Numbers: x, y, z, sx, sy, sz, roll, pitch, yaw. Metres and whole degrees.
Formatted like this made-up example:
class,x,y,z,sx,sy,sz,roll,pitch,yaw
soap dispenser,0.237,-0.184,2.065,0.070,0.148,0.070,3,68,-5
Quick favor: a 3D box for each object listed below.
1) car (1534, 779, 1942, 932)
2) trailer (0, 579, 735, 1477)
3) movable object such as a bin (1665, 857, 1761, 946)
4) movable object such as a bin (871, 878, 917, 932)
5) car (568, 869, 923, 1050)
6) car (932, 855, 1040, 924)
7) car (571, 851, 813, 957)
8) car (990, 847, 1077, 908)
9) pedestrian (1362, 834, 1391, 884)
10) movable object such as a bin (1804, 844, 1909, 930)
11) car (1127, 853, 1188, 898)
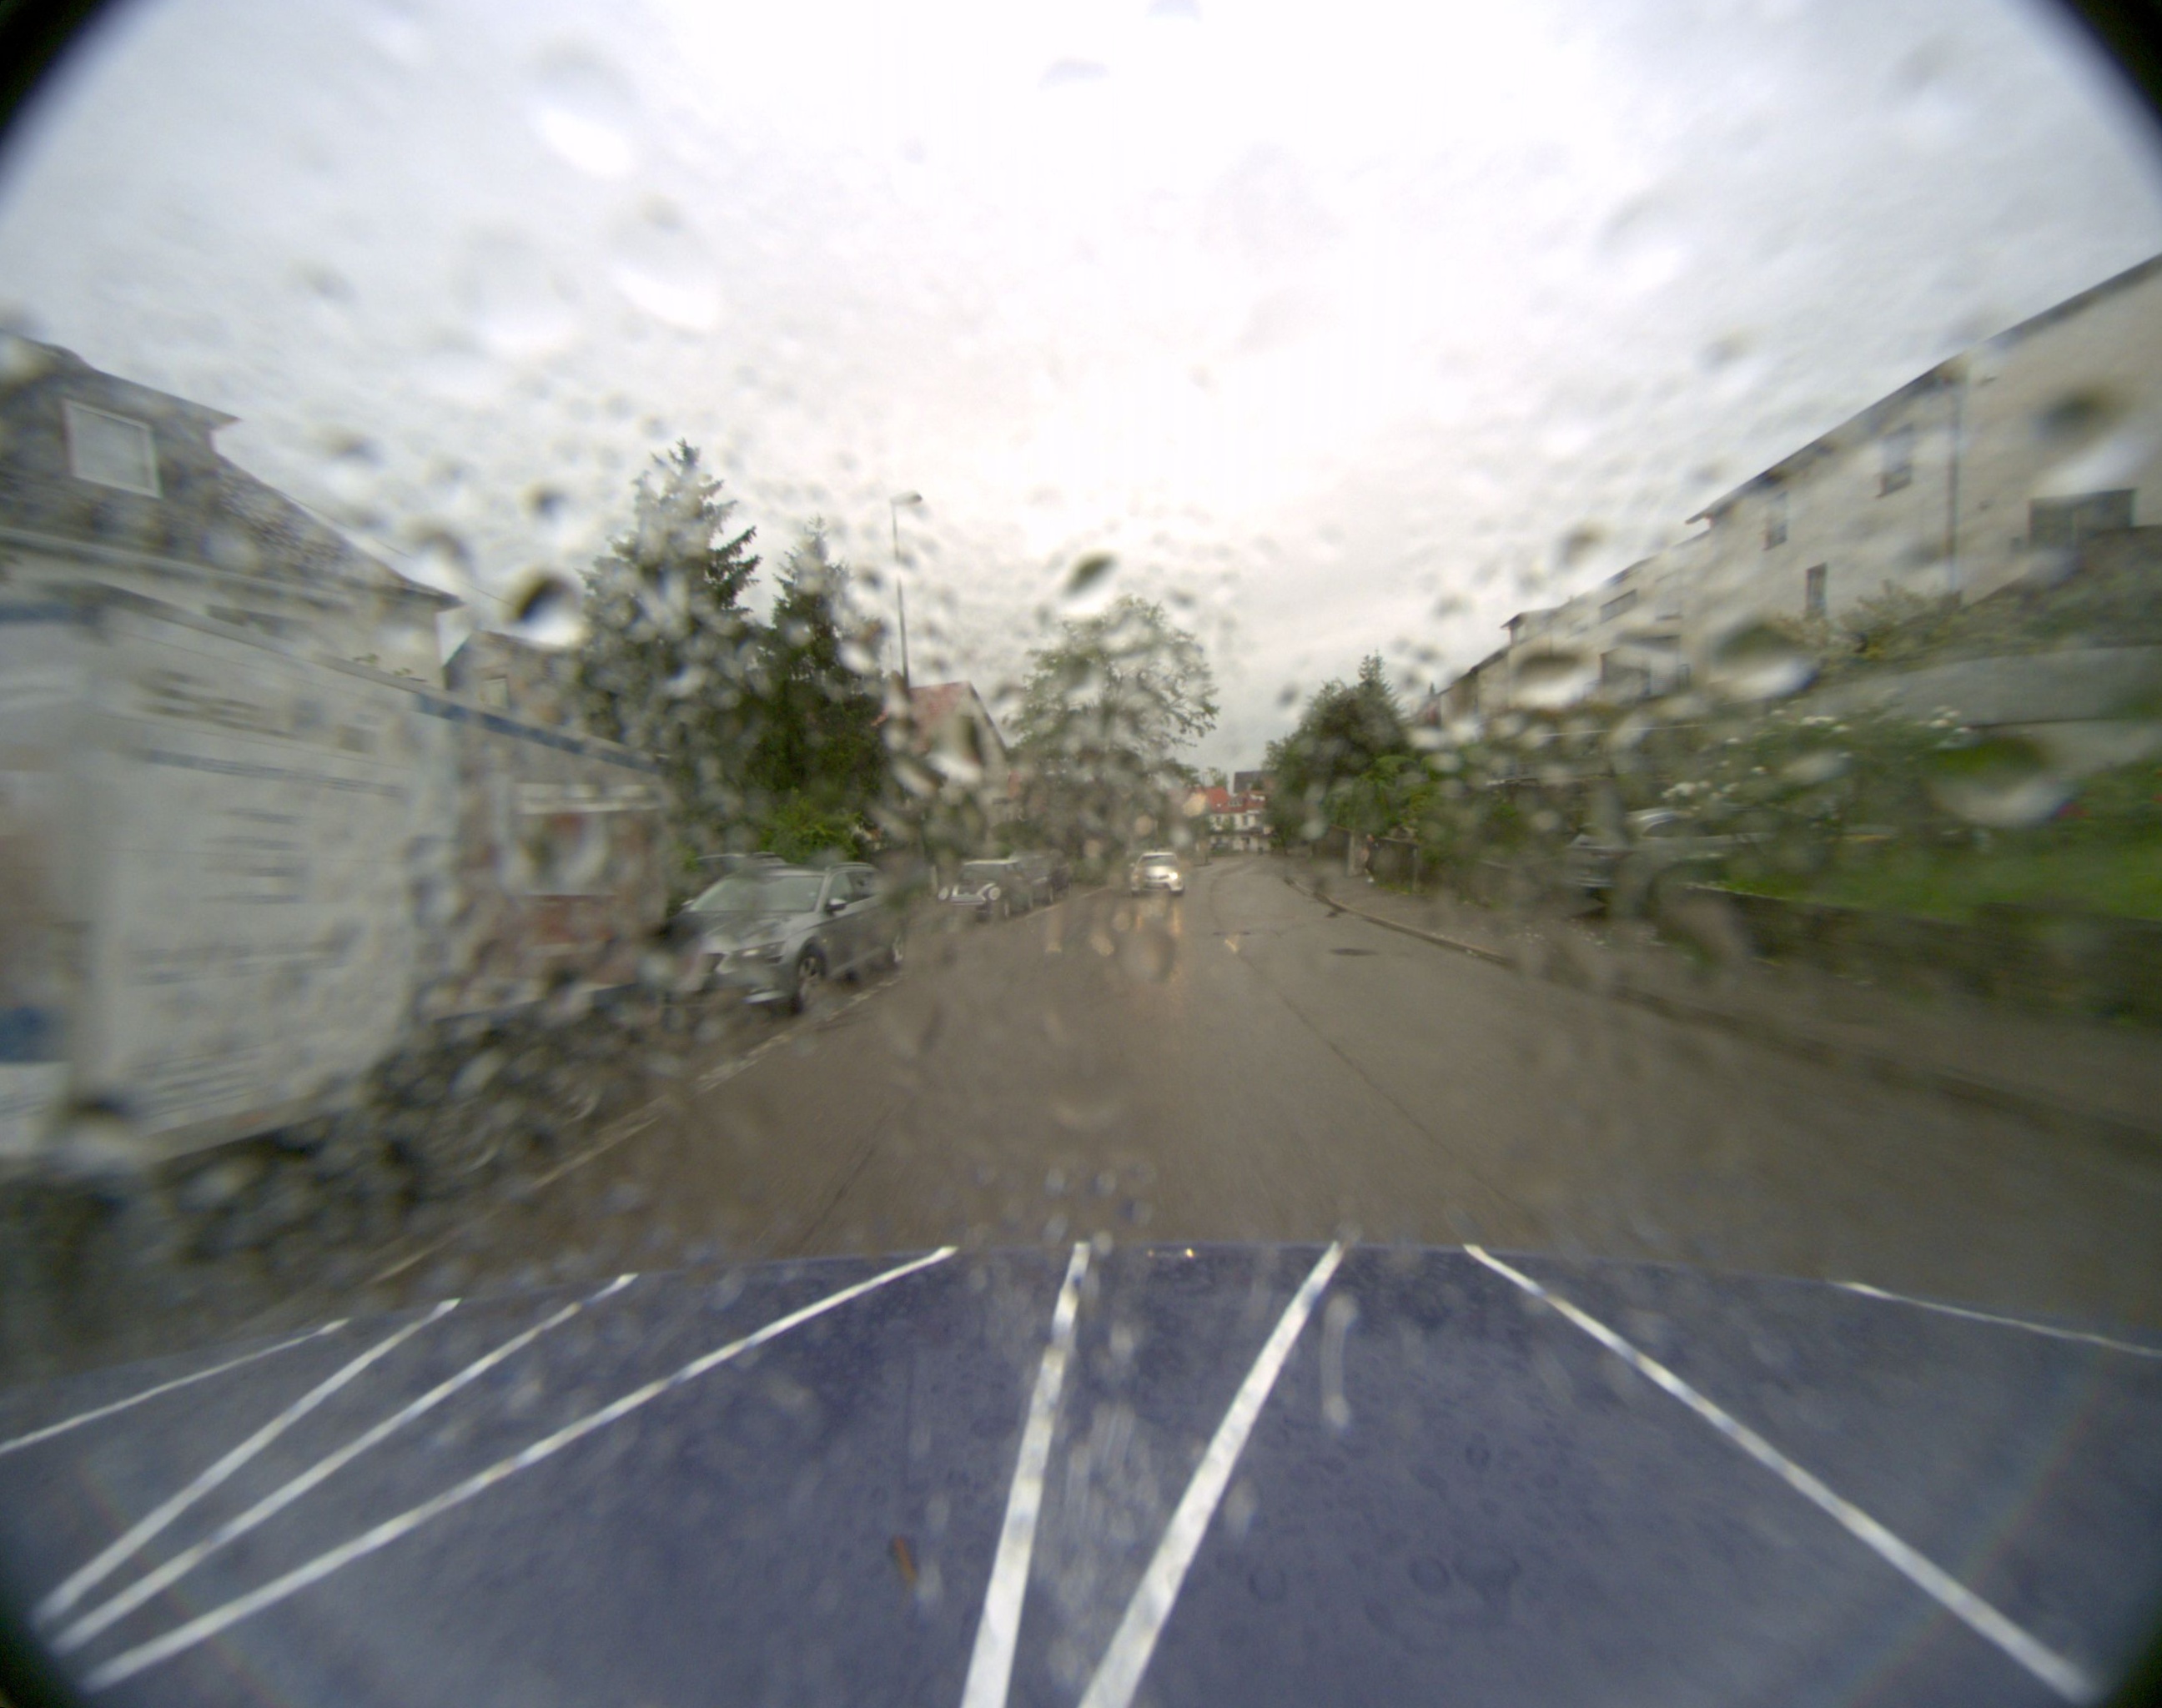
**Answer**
class,x,y,z,sx,sy,sz,roll,pitch,yaw
car,10.223,0.032,12.204,4.519,1.605,1.933,-9,0,7
trailer,-3.864,0.479,3.222,1.953,2.442,5.435,-2,1,3
movable object such as a bin,8.318,0.605,10.036,0.538,1.069,0.743,-8,0,5
movable object such as a bin,-4.030,1.092,16.408,0.703,1.091,0.701,-3,1,7
car,-3.472,0.988,9.069,1.751,1.416,4.705,-2,1,5
car,-2.252,0.816,18.975,1.636,1.448,3.703,-2,1,9
car,-7.863,0.982,15.517,4.011,1.678,1.779,-6,0,11
car,-1.379,0.661,24.030,1.833,1.691,4.463,-2,1,8
pedestrian,9.937,0.184,25.599,0.657,1.639,0.733,-3,0,4
movable object such as a bin,10.002,0.410,9.823,0.538,1.013,0.710,-7,0,5
car,2.809,0.705,26.991,1.862,1.369,4.183,-2,0,9
